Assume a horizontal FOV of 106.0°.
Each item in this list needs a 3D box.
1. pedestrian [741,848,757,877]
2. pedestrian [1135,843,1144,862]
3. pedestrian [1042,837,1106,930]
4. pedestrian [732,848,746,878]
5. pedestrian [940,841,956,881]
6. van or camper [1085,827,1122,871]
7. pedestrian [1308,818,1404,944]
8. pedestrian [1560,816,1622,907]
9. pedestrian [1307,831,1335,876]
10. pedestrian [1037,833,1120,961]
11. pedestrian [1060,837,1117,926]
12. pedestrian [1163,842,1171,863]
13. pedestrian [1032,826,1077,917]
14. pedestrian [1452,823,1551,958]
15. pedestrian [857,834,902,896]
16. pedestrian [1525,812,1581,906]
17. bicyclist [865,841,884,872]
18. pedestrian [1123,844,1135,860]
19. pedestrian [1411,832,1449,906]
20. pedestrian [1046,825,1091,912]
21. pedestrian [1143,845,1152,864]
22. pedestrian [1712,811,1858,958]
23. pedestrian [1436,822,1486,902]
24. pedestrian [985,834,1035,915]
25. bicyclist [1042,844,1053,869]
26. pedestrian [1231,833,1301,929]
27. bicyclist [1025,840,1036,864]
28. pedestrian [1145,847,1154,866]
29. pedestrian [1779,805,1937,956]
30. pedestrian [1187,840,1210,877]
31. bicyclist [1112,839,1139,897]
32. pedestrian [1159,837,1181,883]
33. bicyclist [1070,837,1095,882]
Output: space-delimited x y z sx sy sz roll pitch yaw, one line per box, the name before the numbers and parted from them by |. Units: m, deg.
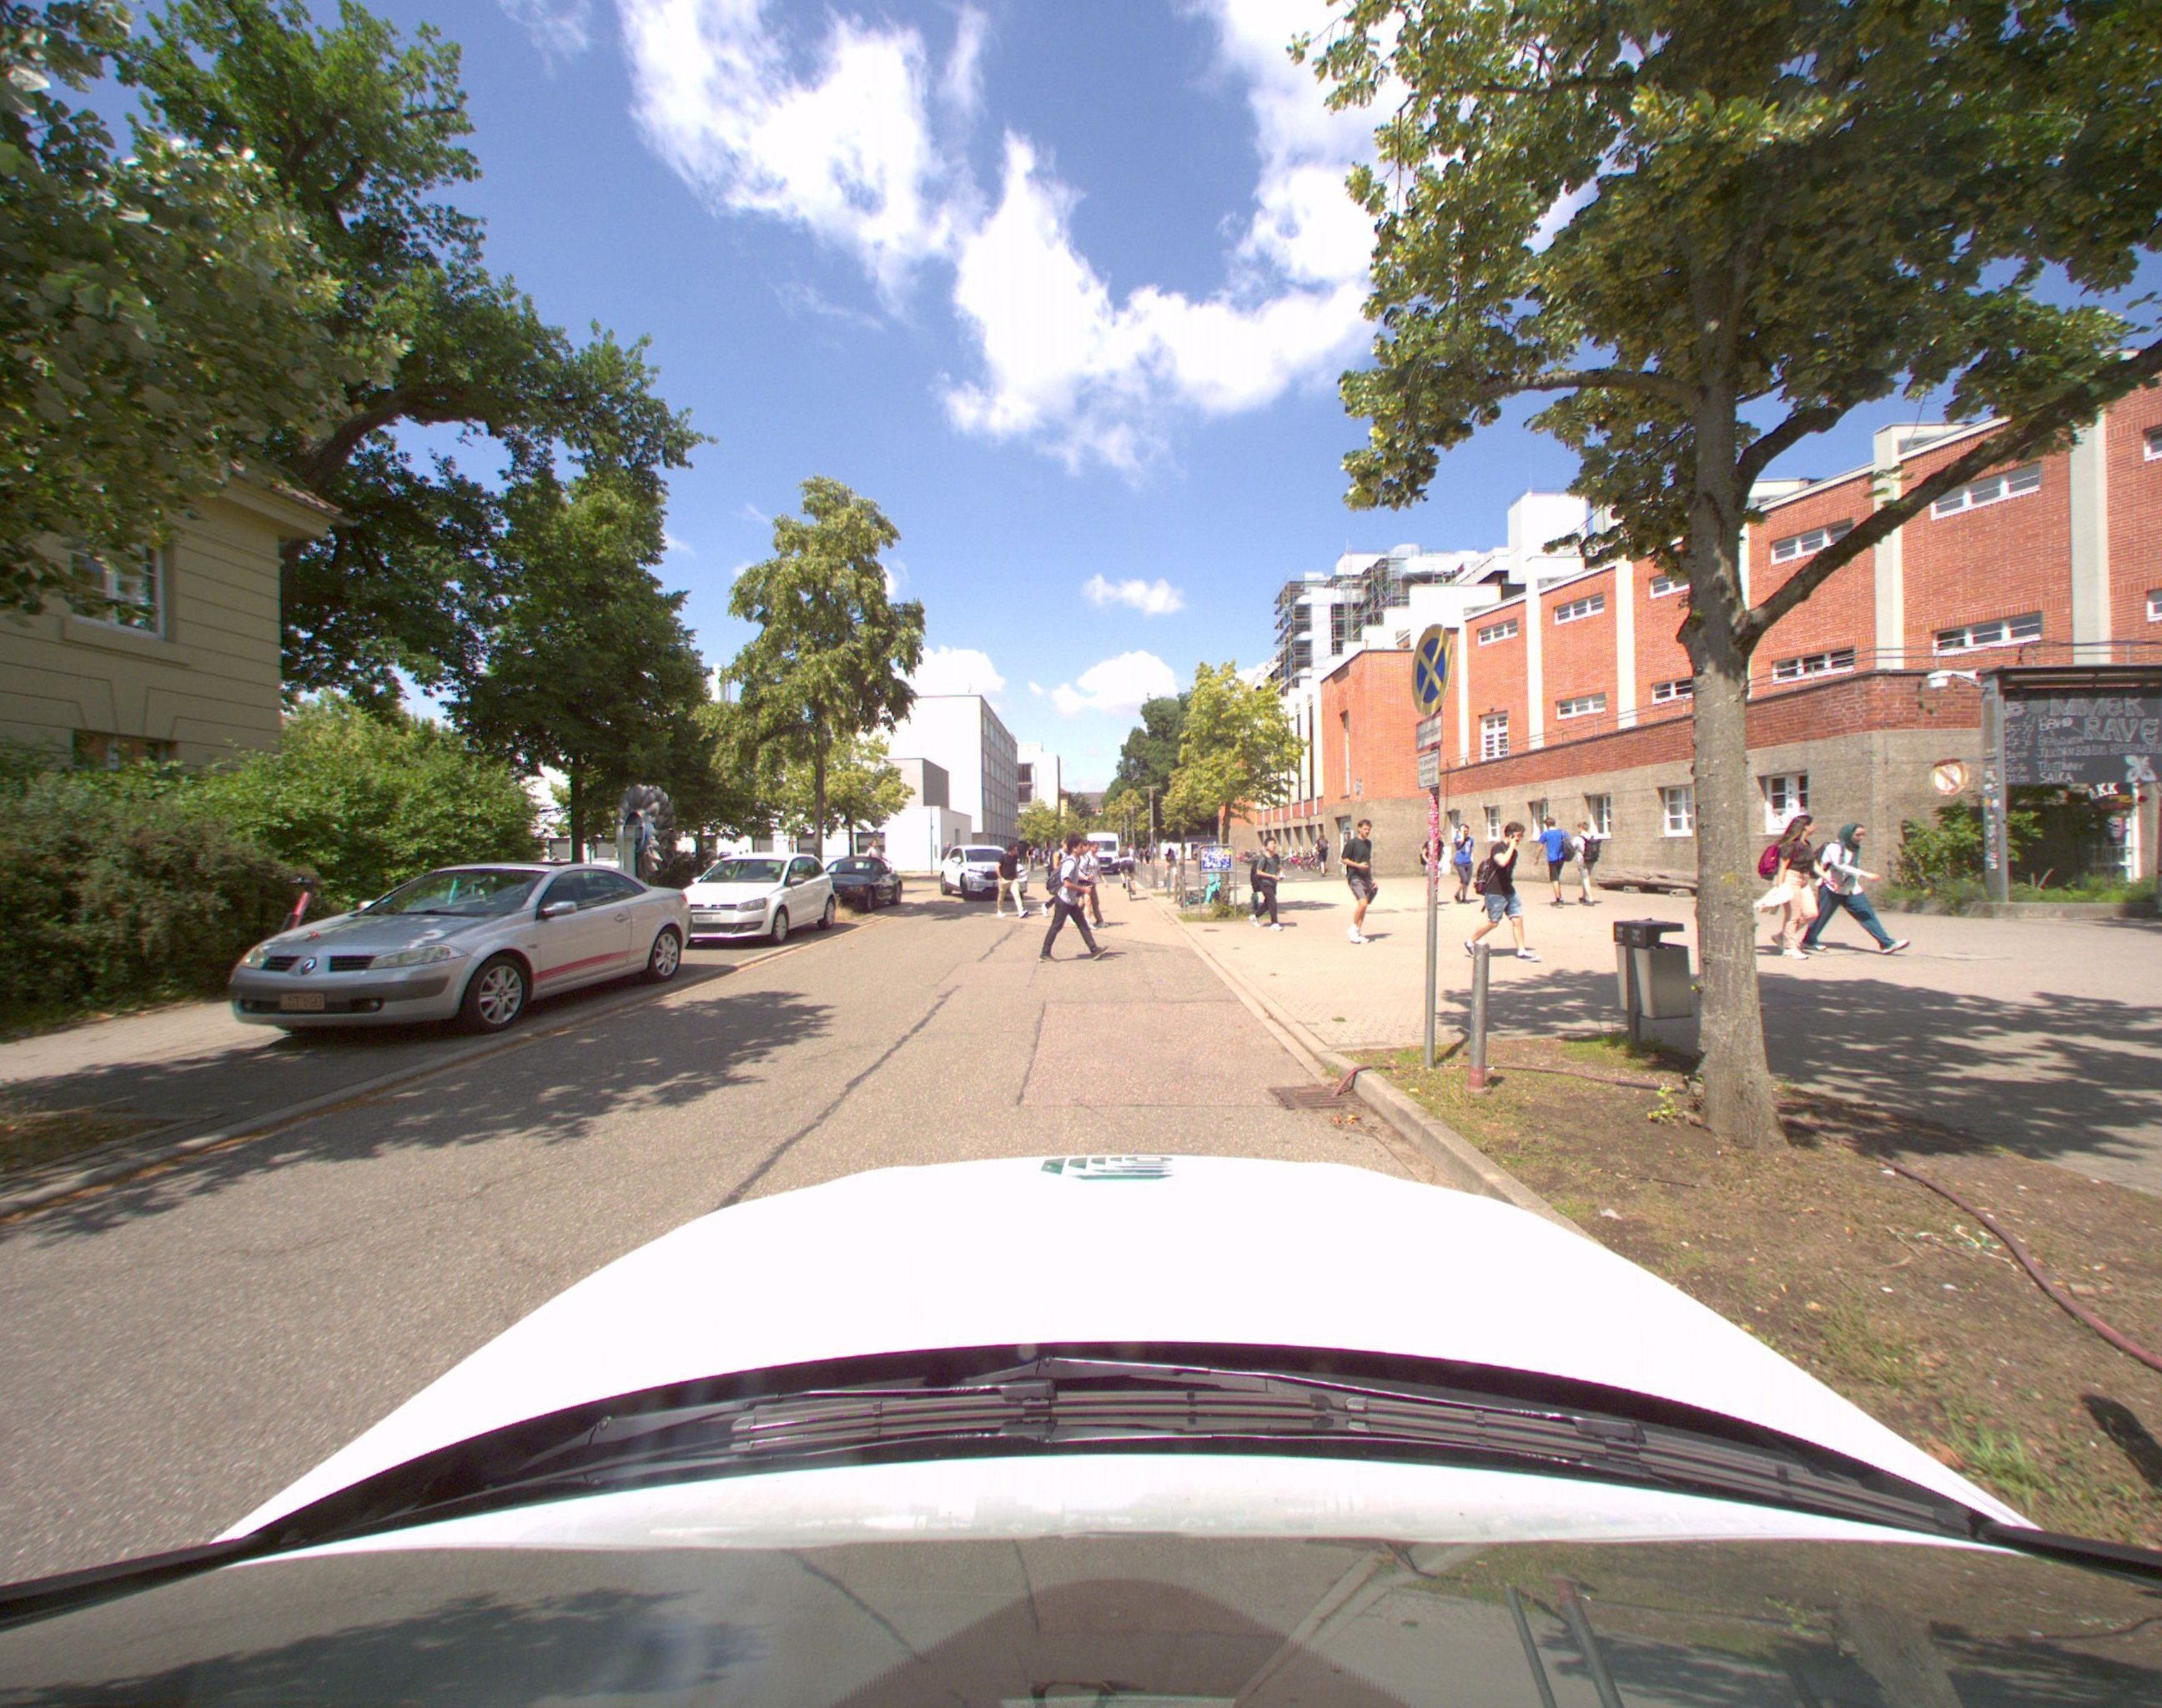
pedestrian | -20.188 0.505 49.468 0.690 1.749 0.636 0 0 1
pedestrian | 5.801 -0.186 80.455 0.787 1.859 1.244 -1 0 2
pedestrian | -0.128 0.547 15.793 0.971 1.739 0.705 -1 0 38
pedestrian | -20.348 0.525 48.427 0.549 1.764 0.586 0 0 1
pedestrian | -6.037 0.324 36.970 0.667 1.785 0.981 -1 -1 -12
van or camper | 1.414 -0.252 48.803 1.985 2.445 4.574 -2 0 4
pedestrian | 4.293 0.391 12.769 0.857 1.860 1.105 -1 0 -31
pedestrian | 10.588 0.144 16.940 0.697 1.803 0.997 -3 1 10
pedestrian | 10.068 -0.035 34.212 0.787 1.859 1.116 -2 0 0
pedestrian | -0.055 0.575 11.302 1.103 1.716 0.709 0 0 -4
pedestrian | 0.150 0.548 16.446 0.897 1.739 0.683 0 -1 39
pedestrian | 7.450 -0.133 70.181 0.574 1.859 0.569 -2 0 -1
pedestrian | -0.604 0.382 18.176 0.620 1.980 0.821 -2 -1 -30
pedestrian | 5.310 0.426 10.294 0.855 1.595 0.820 -3 1 -42
pedestrian | -6.418 0.346 25.891 1.022 1.903 1.166 1 -1 -35
pedestrian | 9.881 0.082 17.070 0.697 1.891 0.997 -2 1 12
bicyclist | -11.861 0.149 46.835 0.684 1.756 0.816 -1 -1 42
pedestrian | 6.767 -0.294 114.795 1.495 1.996 1.646 -4 1 -1
pedestrian | 7.962 0.347 18.605 0.501 1.631 0.569 -2 -2 -8
pedestrian | -0.285 0.330 18.993 0.819 1.980 0.695 0 1 23
pedestrian | 6.789 0.064 83.111 0.787 1.859 1.026 -1 0 2
pedestrian | 8.367 0.346 9.727 0.872 1.638 0.949 -3 0 1
pedestrian | 8.736 0.185 18.760 0.707 1.787 0.750 -2 0 -8
pedestrian | -1.607 0.451 18.431 0.794 1.772 0.859 0 1 23
bicyclist | -2.330 0.149 56.302 0.665 1.681 0.992 -2 0 -1
pedestrian | 3.467 0.488 15.288 0.707 1.719 0.982 -4 1 -42
bicyclist | -3.377 -0.144 54.572 0.641 1.601 0.909 -2 0 -1
pedestrian | 6.749 0.222 80.124 0.787 1.859 1.026 -1 0 2
pedestrian | 9.242 0.284 9.729 0.873 1.637 0.948 -6 2 -3
pedestrian | 5.682 0.226 39.351 0.851 1.732 1.159 -2 0 -2
bicyclist | 1.341 0.402 24.258 0.714 1.662 1.096 -2 0 4
pedestrian | 3.475 0.223 31.827 0.700 1.694 0.962 -4 1 1
bicyclist | 0.063 0.221 33.620 0.770 1.756 0.847 -6 1 -5
